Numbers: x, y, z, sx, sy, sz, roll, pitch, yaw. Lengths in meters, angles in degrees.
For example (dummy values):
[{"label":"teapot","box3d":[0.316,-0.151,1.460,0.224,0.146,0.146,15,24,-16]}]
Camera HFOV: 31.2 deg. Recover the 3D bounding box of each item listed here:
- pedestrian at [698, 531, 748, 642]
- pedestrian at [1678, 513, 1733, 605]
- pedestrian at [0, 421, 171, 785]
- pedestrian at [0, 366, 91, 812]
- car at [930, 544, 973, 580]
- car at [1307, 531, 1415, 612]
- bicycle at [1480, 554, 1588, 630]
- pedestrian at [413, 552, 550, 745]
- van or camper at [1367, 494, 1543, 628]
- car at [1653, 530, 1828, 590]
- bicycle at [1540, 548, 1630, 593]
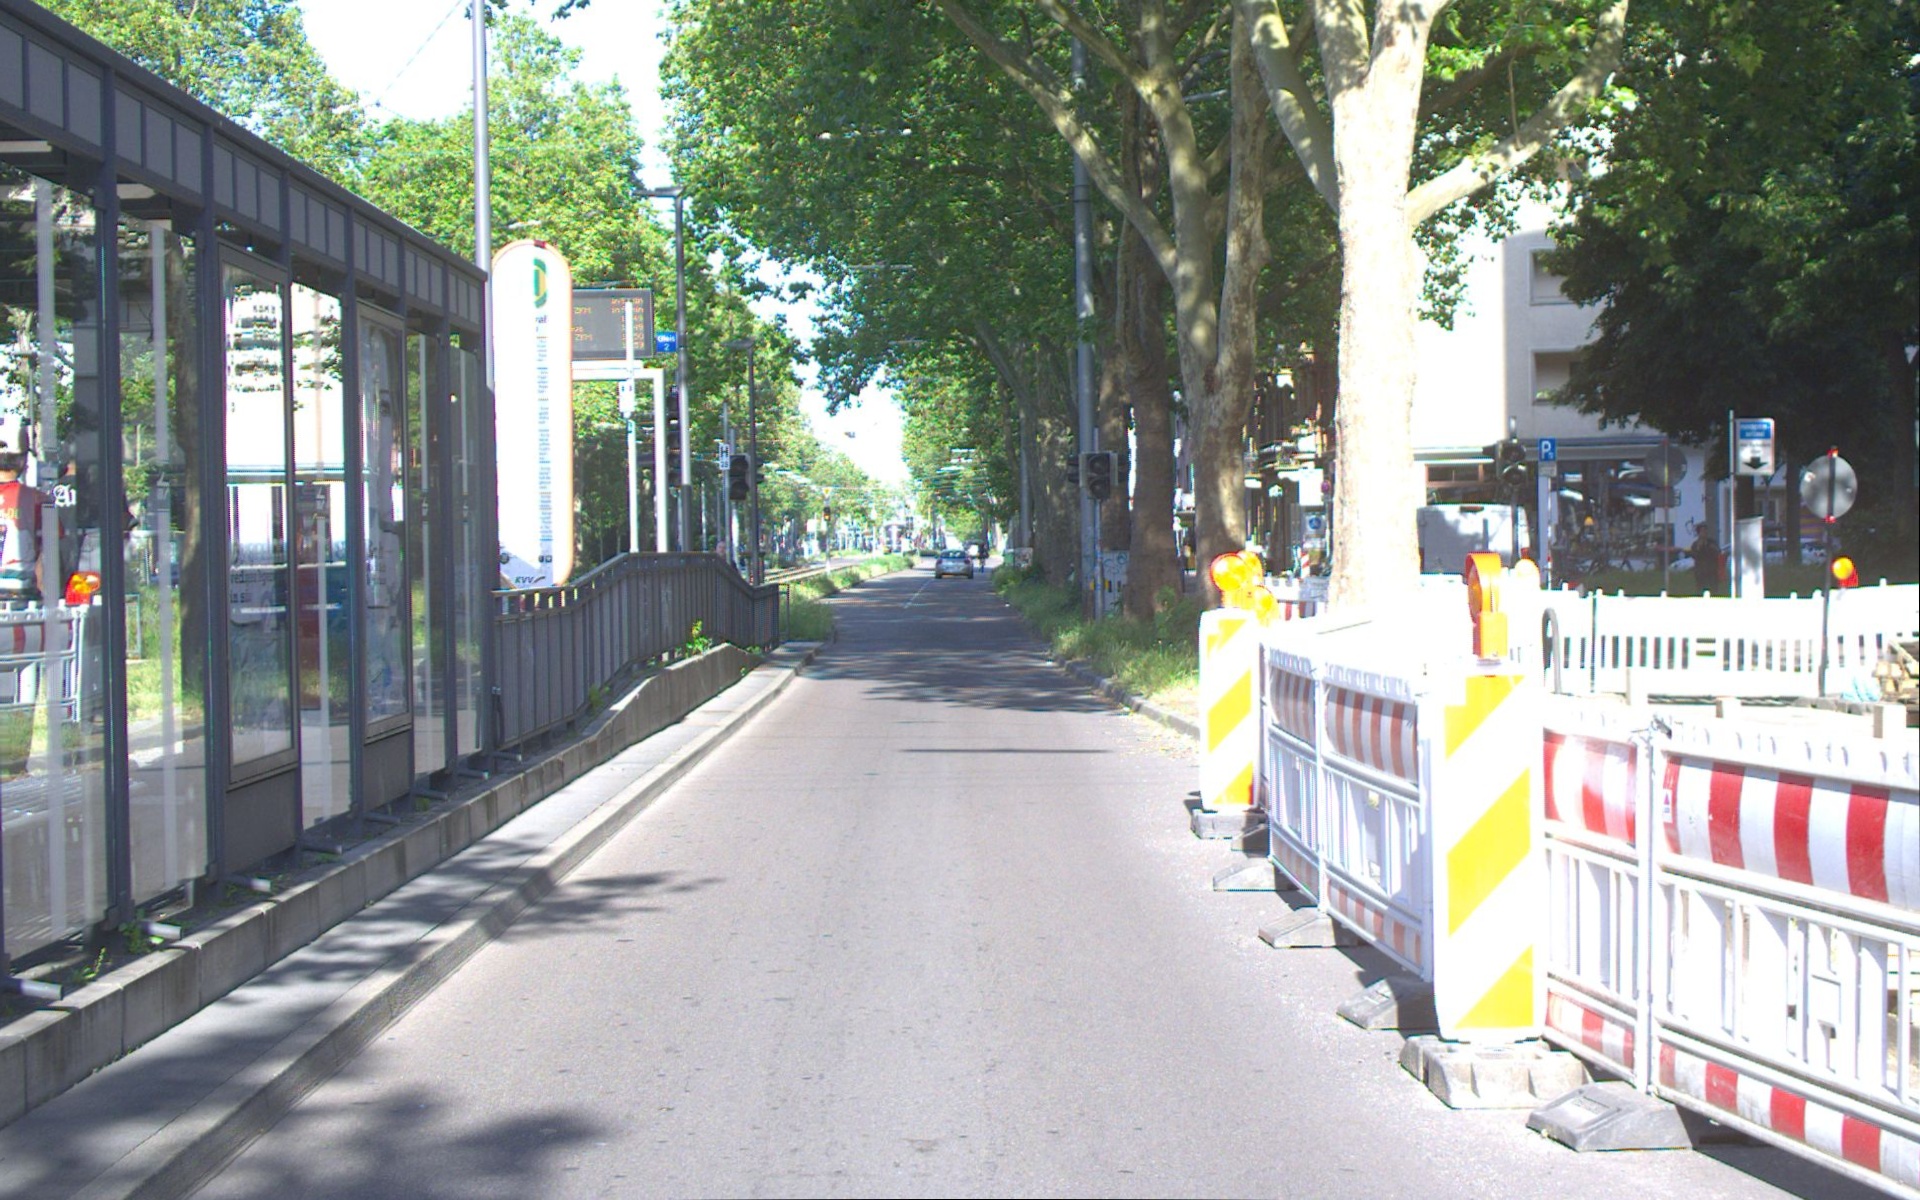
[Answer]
[{"label":"pedestrian","box3d":[-3.610,-0.216,52.424,0.712,1.674,0.772,-1,1,-1]},{"label":"pedestrian","box3d":[13.248,-0.727,61.136,0.732,1.611,1.035,-1,1,0]},{"label":"pedestrian","box3d":[-4.380,0.009,17.177,0.682,1.778,0.754,0,1,1]},{"label":"pedestrian","box3d":[-4.440,-0.055,15.847,0.667,2.007,0.716,0,1,1]},{"label":"car","box3d":[-0.430,-1.830,164.981,2.021,1.656,4.000,-1,1,0]},{"label":"car","box3d":[9.017,-0.657,77.682,1.819,1.736,5.168,-1,1,0]},{"label":"bicycle","box3d":[9.711,-0.142,58.213,1.603,1.259,0.963,-1,1,-4]},{"label":"pedestrian","box3d":[-2.970,0.289,21.403,0.752,1.175,0.812,0,1,-1]},{"label":"van or camper","box3d":[8.881,-0.712,62.141,2.291,2.279,5.823,0,1,0]},{"label":"car","box3d":[21.521,-1.109,94.747,4.589,1.575,1.999,0,1,15]},{"label":"bicycle","box3d":[15.626,-0.725,86.021,2.141,1.100,0.507,0,1,25]}]
